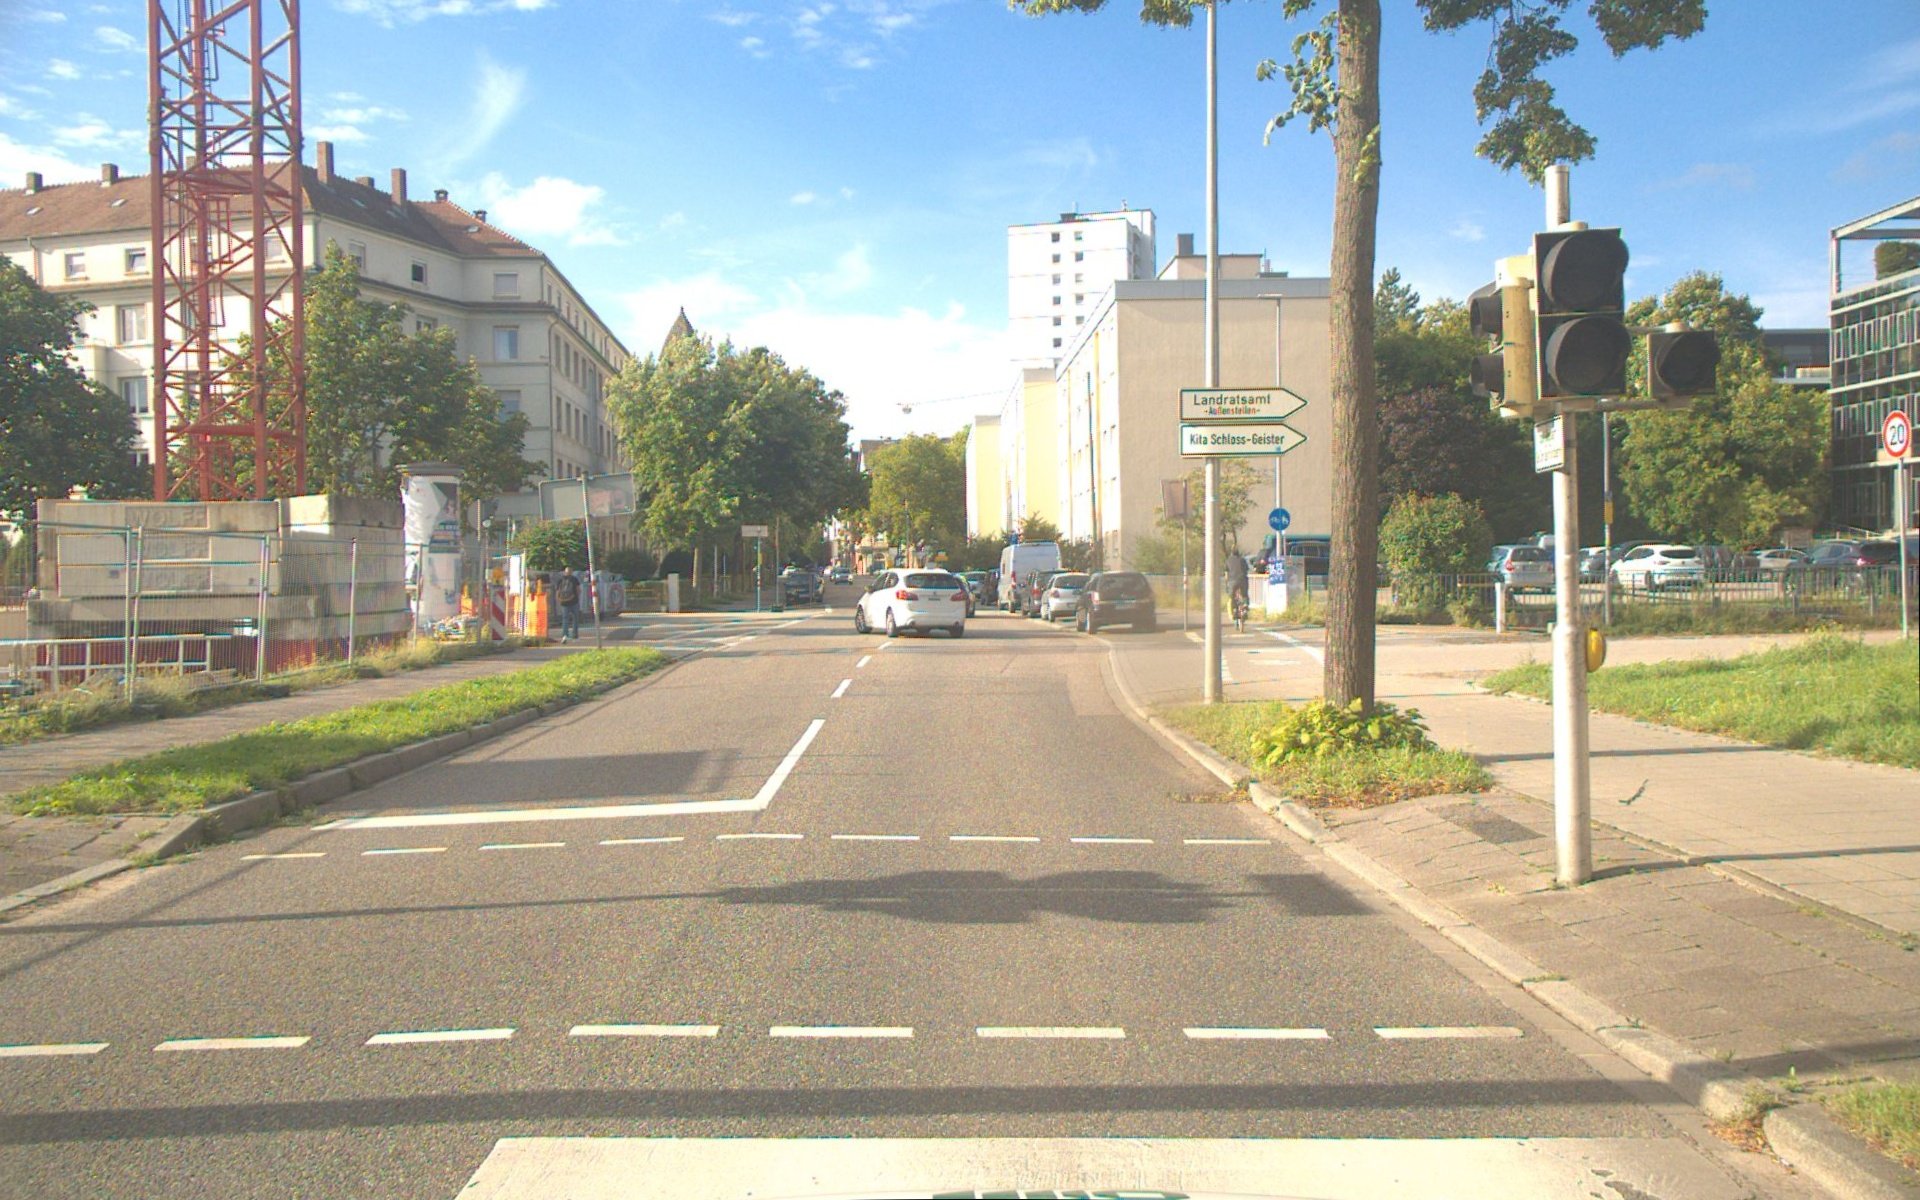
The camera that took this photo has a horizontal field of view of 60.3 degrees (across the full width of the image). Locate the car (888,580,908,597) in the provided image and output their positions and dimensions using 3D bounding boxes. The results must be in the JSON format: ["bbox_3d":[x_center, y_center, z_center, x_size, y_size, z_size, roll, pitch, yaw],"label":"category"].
[{"bbox_3d":[-6.429,-1.183,172.168,1.953,1.785,3.999,0,1,-1],"label":"car"}]

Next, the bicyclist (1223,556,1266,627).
[{"bbox_3d":[6.390,-0.193,37.209,0.722,1.539,0.874,-3,1,-2],"label":"bicyclist"}]

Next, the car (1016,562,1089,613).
[{"bbox_3d":[3.212,-0.464,58.087,1.954,1.643,4.404,-2,1,-4],"label":"car"}]

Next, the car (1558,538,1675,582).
[{"bbox_3d":[26.654,-1.617,67.234,3.907,1.623,1.999,-2,1,-3],"label":"car"}]

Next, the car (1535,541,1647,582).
[{"bbox_3d":[26.431,-1.605,69.363,3.907,1.579,1.999,-2,1,-3],"label":"car"}]

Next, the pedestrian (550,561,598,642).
[{"bbox_3d":[-8.567,0.040,36.726,0.989,1.758,1.174,-1,0,-14],"label":"pedestrian"}]

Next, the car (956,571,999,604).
[{"bbox_3d":[0.881,-0.651,85.545,1.953,1.601,3.999,-2,1,-2],"label":"car"}]

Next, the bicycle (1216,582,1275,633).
[{"bbox_3d":[6.417,0.144,37.307,0.725,1.052,2.761,-3,1,-2],"label":"bicycle"}]

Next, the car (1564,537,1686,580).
[{"bbox_3d":[25.958,-1.606,64.644,3.907,1.512,2.000,-2,1,-2],"label":"car"}]

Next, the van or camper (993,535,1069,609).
[{"bbox_3d":[2.688,-1.086,64.100,2.166,2.652,5.366,-2,1,-5],"label":"van or camper"}]

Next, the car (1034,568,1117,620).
[{"bbox_3d":[3.628,-0.210,52.722,1.976,1.500,4.799,-2,1,-3],"label":"car"}]

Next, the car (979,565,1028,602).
[{"bbox_3d":[1.946,-0.763,75.016,1.953,1.601,3.999,-2,1,-2],"label":"car"}]

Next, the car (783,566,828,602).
[{"bbox_3d":[-7.527,-0.796,80.169,1.956,1.668,3.993,-2,1,-8],"label":"car"}]

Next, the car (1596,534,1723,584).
[{"bbox_3d":[22.390,-1.296,53.102,1.956,1.467,3.993,-2,1,-8],"label":"car"}]

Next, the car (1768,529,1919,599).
[{"bbox_3d":[22.666,-0.895,42.142,1.812,1.617,4.607,-2,1,0],"label":"car"}]

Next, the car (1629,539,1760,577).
[{"bbox_3d":[26.466,-1.501,59.689,3.903,1.333,2.001,0,0,4],"label":"car"}]

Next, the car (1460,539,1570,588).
[{"bbox_3d":[17.837,-1.174,53.381,1.954,1.467,3.997,-2,1,-4],"label":"car"}]

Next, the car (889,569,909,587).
[{"bbox_3d":[-6.038,-2.178,164.394,1.953,1.785,3.999,0,1,-1],"label":"car"}]

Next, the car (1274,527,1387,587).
[{"bbox_3d":[14.670,-1.697,65.700,4.034,2.224,2.001,-2,1,2],"label":"car"}]

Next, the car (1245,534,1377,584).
[{"bbox_3d":[12.591,-1.471,59.516,4.356,1.650,2.001,-2,1,2],"label":"car"}]

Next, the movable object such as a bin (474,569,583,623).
[{"bbox_3d":[-14.007,-0.140,53.728,3.037,1.737,1.549,0,0,13],"label":"movable object such as a bin"}]

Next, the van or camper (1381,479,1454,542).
[{"bbox_3d":[23.819,-4.615,86.313,2.282,2.924,5.122,-5,1,1],"label":"van or camper"}]

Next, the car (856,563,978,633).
[{"bbox_3d":[-1.087,-0.068,39.470,1.961,1.582,4.256,0,1,-15],"label":"car"}]

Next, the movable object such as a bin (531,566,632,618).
[{"bbox_3d":[-12.959,-0.277,56.696,3.037,1.737,1.412,0,0,12],"label":"movable object such as a bin"}]

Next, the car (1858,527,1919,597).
[{"bbox_3d":[25.453,-1.011,42.456,1.815,1.774,4.796,-2,1,-6],"label":"car"}]

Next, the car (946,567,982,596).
[{"bbox_3d":[0.199,-1.118,98.369,1.953,1.601,3.999,-2,1,-2],"label":"car"}]

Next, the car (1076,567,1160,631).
[{"bbox_3d":[3.910,-0.037,41.569,1.682,1.522,4.268,0,1,0],"label":"car"}]

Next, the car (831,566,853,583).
[{"bbox_3d":[-12.268,-2.633,171.289,2.017,1.692,3.920,-2,1,-8],"label":"car"}]

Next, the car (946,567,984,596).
[{"bbox_3d":[0.271,-1.052,93.590,1.953,1.556,3.999,-2,1,-2],"label":"car"}]
